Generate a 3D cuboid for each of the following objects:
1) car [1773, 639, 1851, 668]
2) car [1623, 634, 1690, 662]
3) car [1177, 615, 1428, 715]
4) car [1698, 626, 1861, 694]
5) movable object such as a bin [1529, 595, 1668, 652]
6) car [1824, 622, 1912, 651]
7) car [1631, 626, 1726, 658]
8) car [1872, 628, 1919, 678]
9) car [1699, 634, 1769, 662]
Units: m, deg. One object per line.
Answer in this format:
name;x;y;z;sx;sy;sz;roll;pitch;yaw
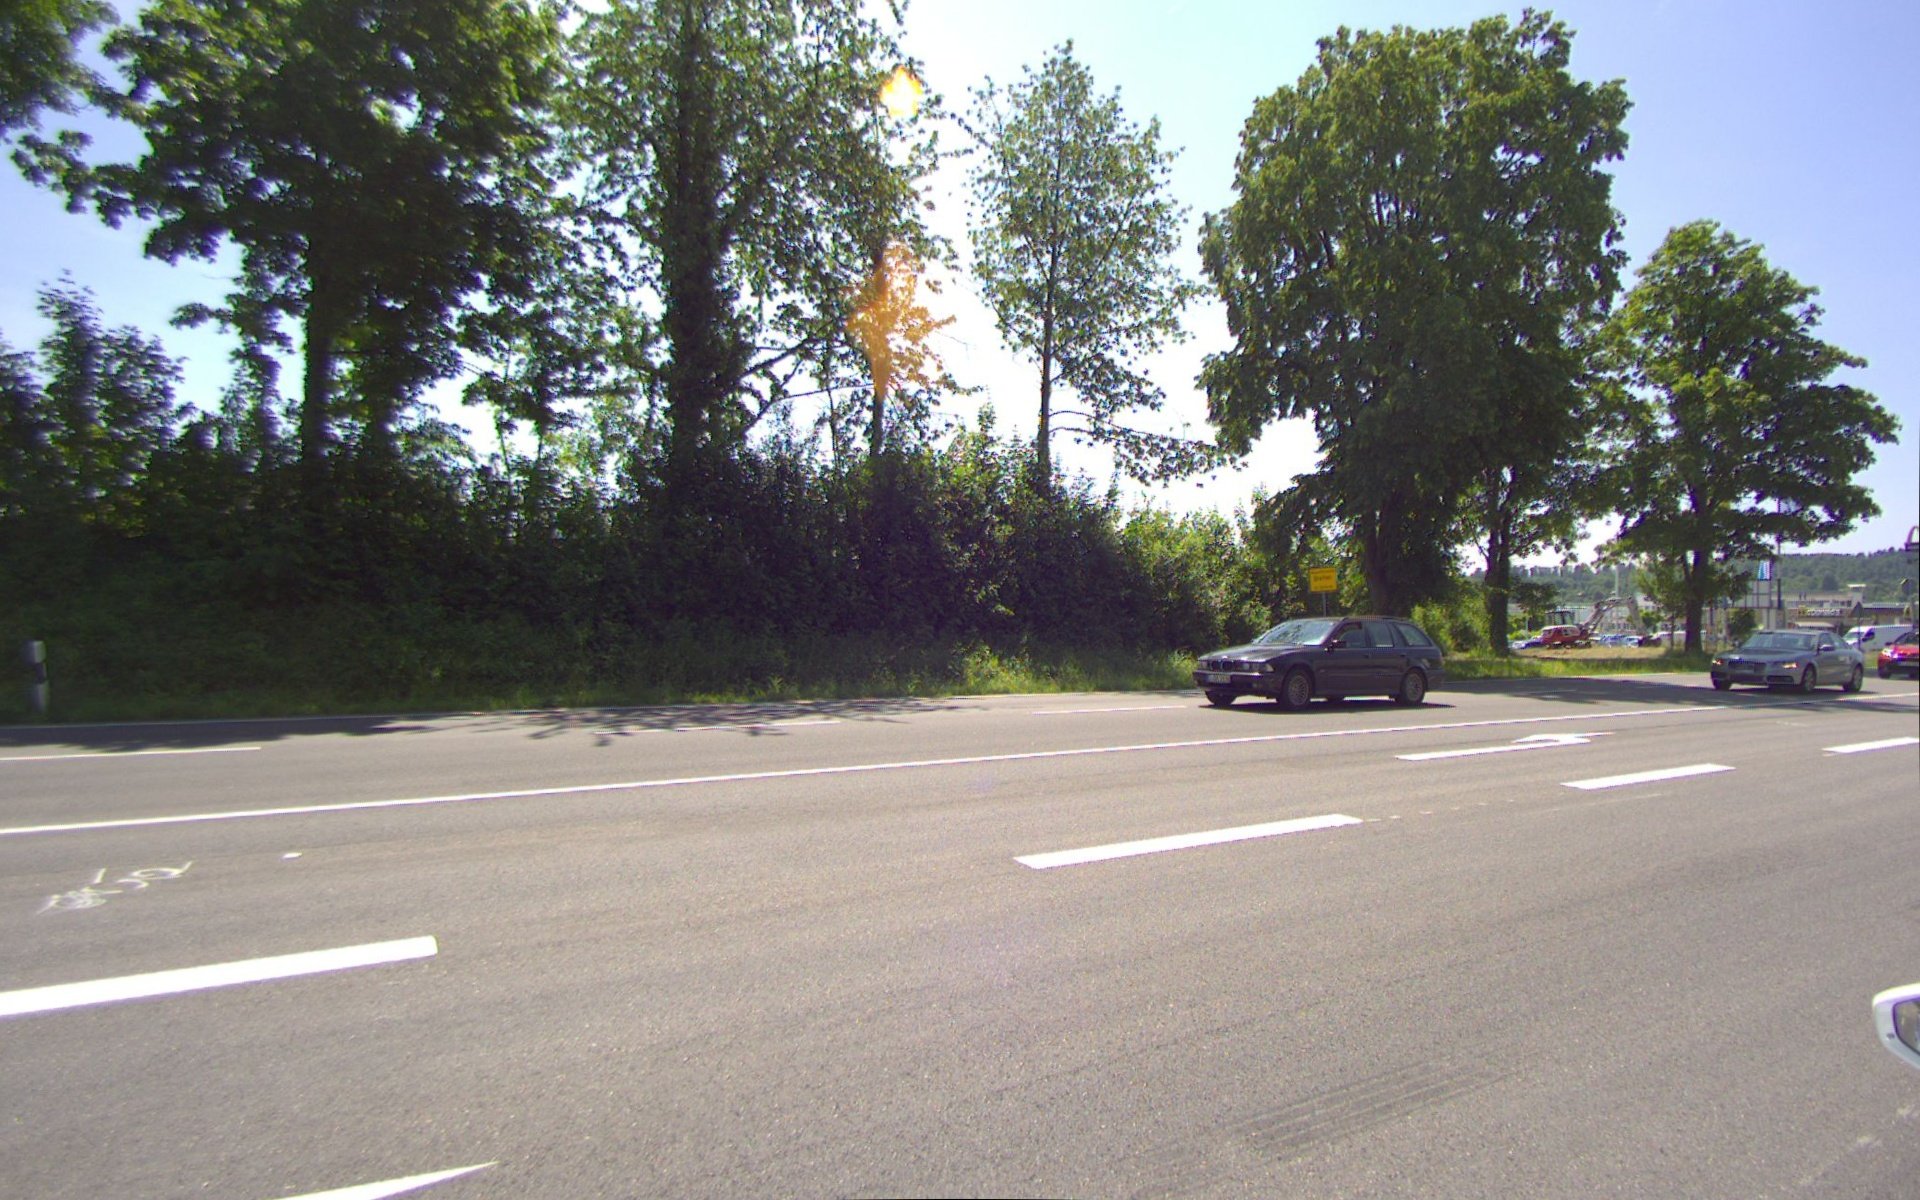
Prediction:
car;53.837;3.375;63.566;1.803;1.639;4.002;1;-1;6
car;46.010;3.145;66.474;1.959;1.673;4.002;1;-1;7
car;5.617;1.035;16.381;3.956;1.405;1.757;3;0;-32
car;19.181;1.392;23.471;3.956;1.405;1.757;3;0;-32
movable object such as a bin;39.703;1.453;62.656;6.654;3.342;3.055;1;-1;10
car;72.823;2.930;80.608;5.089;2.212;2.001;1;-1;3
car;50.801;2.945;71.096;5.113;2.040;2.001;1;-1;8
car;30.051;1.626;31.200;3.974;1.457;1.632;2;-1;-33
car;50.913;3.158;66.165;1.803;1.639;4.002;1;-1;6
